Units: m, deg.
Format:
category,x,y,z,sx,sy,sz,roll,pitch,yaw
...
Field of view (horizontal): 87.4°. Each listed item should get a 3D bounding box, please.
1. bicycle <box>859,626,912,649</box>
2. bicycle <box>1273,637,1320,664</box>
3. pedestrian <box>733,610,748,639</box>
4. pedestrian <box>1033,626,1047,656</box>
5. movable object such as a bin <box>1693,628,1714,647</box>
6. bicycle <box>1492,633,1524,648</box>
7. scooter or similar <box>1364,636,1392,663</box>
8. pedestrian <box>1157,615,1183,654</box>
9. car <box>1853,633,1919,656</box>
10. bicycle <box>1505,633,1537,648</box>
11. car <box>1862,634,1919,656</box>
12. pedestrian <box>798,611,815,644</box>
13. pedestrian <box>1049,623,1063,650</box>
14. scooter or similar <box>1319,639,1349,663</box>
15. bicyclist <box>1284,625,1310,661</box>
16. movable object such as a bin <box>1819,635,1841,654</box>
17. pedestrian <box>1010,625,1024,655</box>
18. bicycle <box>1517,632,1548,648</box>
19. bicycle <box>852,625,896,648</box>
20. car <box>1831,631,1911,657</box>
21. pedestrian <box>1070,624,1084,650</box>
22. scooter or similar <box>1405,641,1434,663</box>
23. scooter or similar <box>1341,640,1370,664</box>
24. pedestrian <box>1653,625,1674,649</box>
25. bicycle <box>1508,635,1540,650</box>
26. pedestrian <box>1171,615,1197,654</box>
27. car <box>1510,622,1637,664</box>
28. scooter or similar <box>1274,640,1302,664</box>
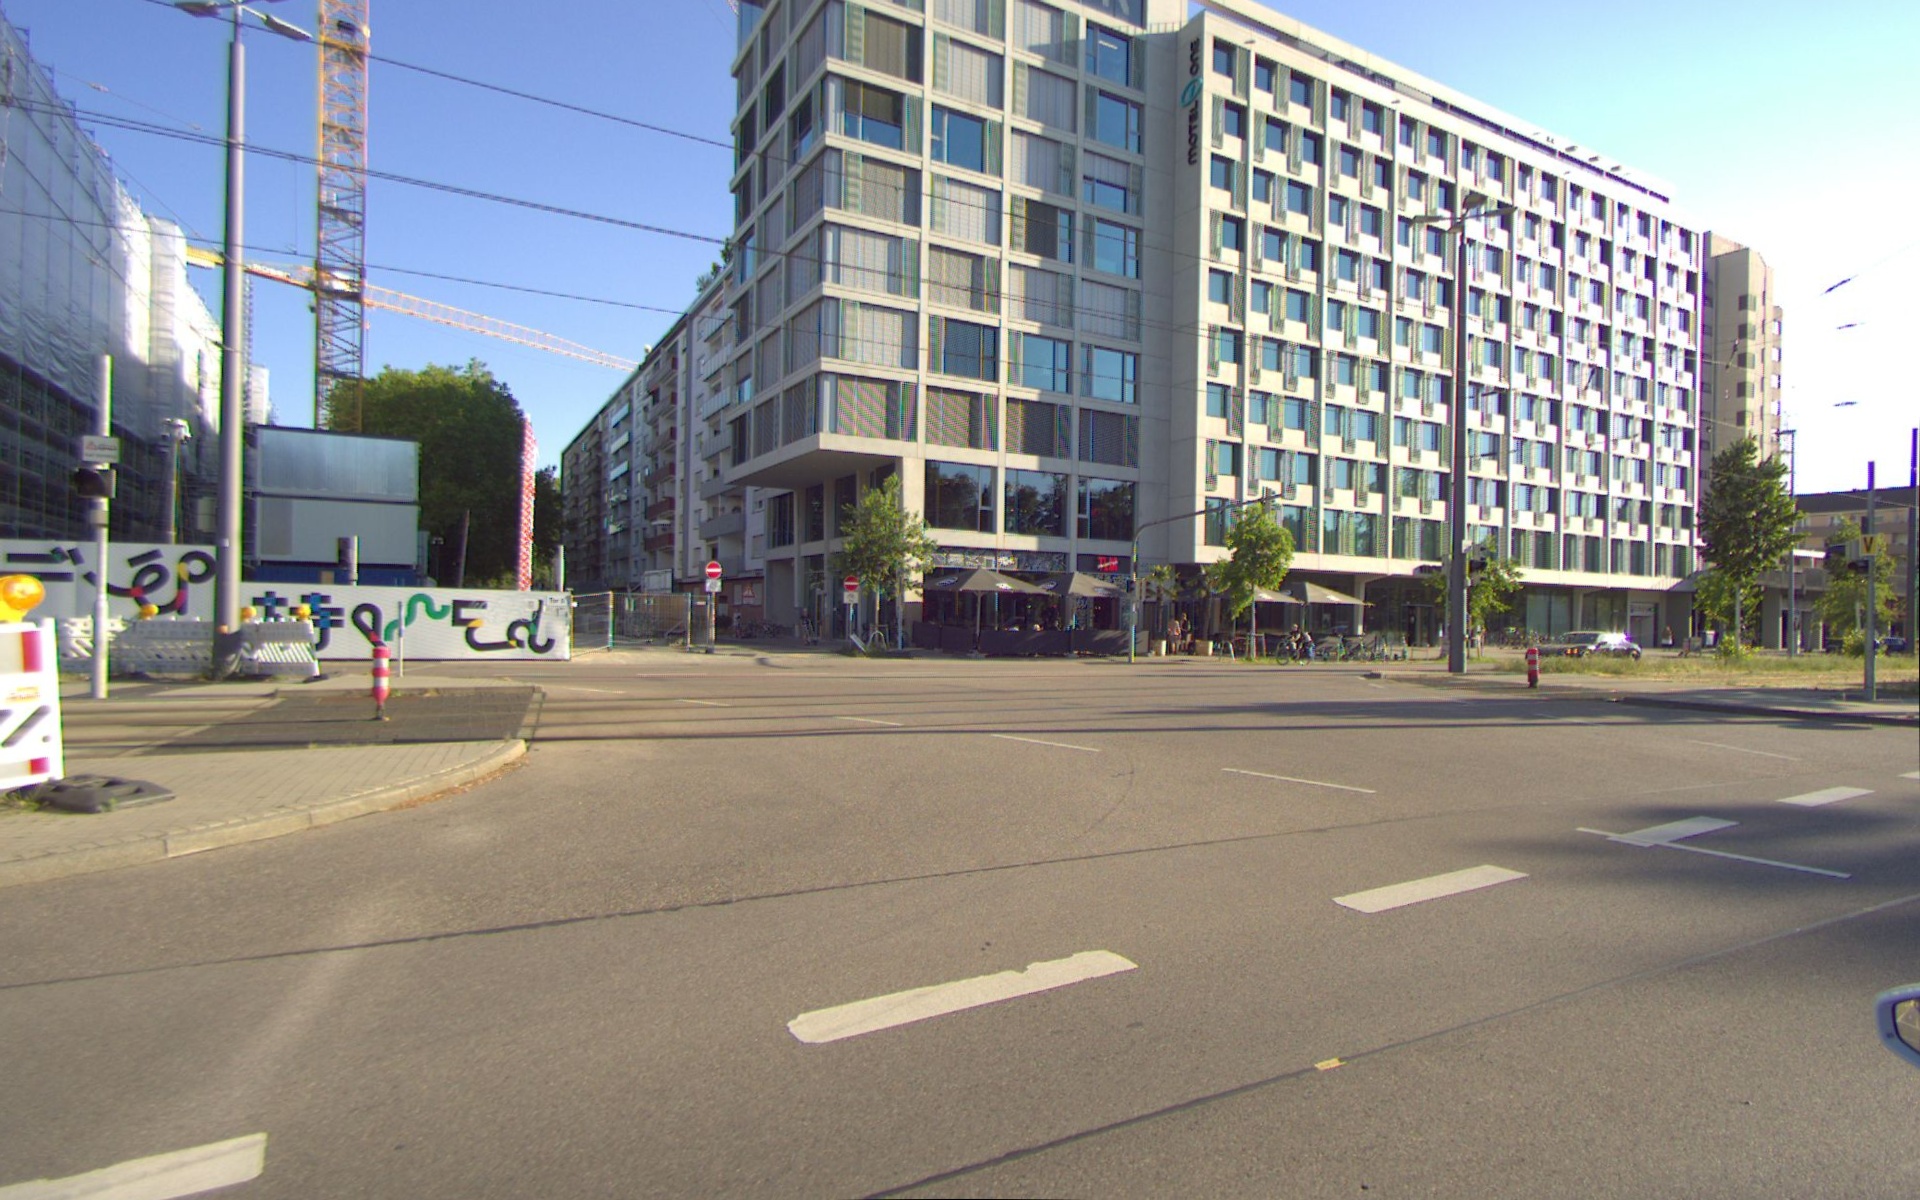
category,x,y,z,sx,sy,sz,roll,pitch,yaw
bicycle,-3.174,1.616,42.894,2.191,0.948,0.615,2,-1,-31
bicycle,13.846,2.088,41.321,2.053,1.081,0.622,2,-1,-29
pedestrian,-12.275,1.365,56.137,0.694,1.555,0.580,1,-1,-23
pedestrian,3.294,1.682,41.551,0.428,1.210,0.362,1,0,-32
movable object such as a bin,56.712,2.880,76.650,1.386,1.459,0.796,1,-1,-30
bicycle,35.112,2.578,64.398,0.507,0.917,1.792,1,-1,-35
scooter or similar,19.502,2.304,46.841,0.401,1.187,1.238,1,-1,-28
pedestrian,9.488,1.560,45.350,0.791,1.744,0.868,1,0,-20
car,71.616,3.423,77.535,3.554,1.543,1.621,3,1,20
bicycle,36.177,2.619,64.770,0.507,0.917,1.792,1,-1,-35
car,73.963,3.556,79.116,3.919,1.472,1.787,2,0,13
pedestrian,-7.056,1.256,46.170,0.571,1.518,0.583,1,-1,-32
pedestrian,4.546,1.733,47.345,0.491,1.238,0.430,1,0,-29
scooter or similar,16.809,2.294,45.203,0.504,1.033,1.238,1,-1,-28
bicyclist,13.870,1.761,41.327,0.841,1.484,0.622,1,-1,-29
movable object such as a bin,63.595,3.256,73.407,0.924,1.376,0.858,1,-1,-15
pedestrian,2.343,1.653,41.500,0.428,1.210,0.362,1,0,-32
bicycle,37.502,2.627,65.856,0.477,0.979,1.743,1,1,-30
bicycle,-3.731,1.594,43.659,1.879,0.948,0.533,2,-1,-31
car,68.642,3.318,75.761,4.016,1.622,1.749,3,2,20
pedestrian,5.573,1.761,47.945,0.491,1.238,0.430,1,0,-29
scooter or similar,22.021,2.477,48.166,0.429,1.033,1.238,1,-1,-28
scooter or similar,18.101,2.368,45.981,0.429,1.033,1.238,1,-1,-28
pedestrian,49.099,2.577,70.110,0.958,1.675,0.840,1,-1,-28
bicycle,36.526,2.732,65.059,0.507,0.917,1.792,1,-1,-35
pedestrian,10.203,1.580,45.676,0.791,1.744,0.868,1,0,-20
car,22.096,1.534,36.160,4.794,1.361,1.882,2,-1,-31
scooter or similar,14.452,2.279,44.302,0.401,1.019,1.238,1,-1,-28
